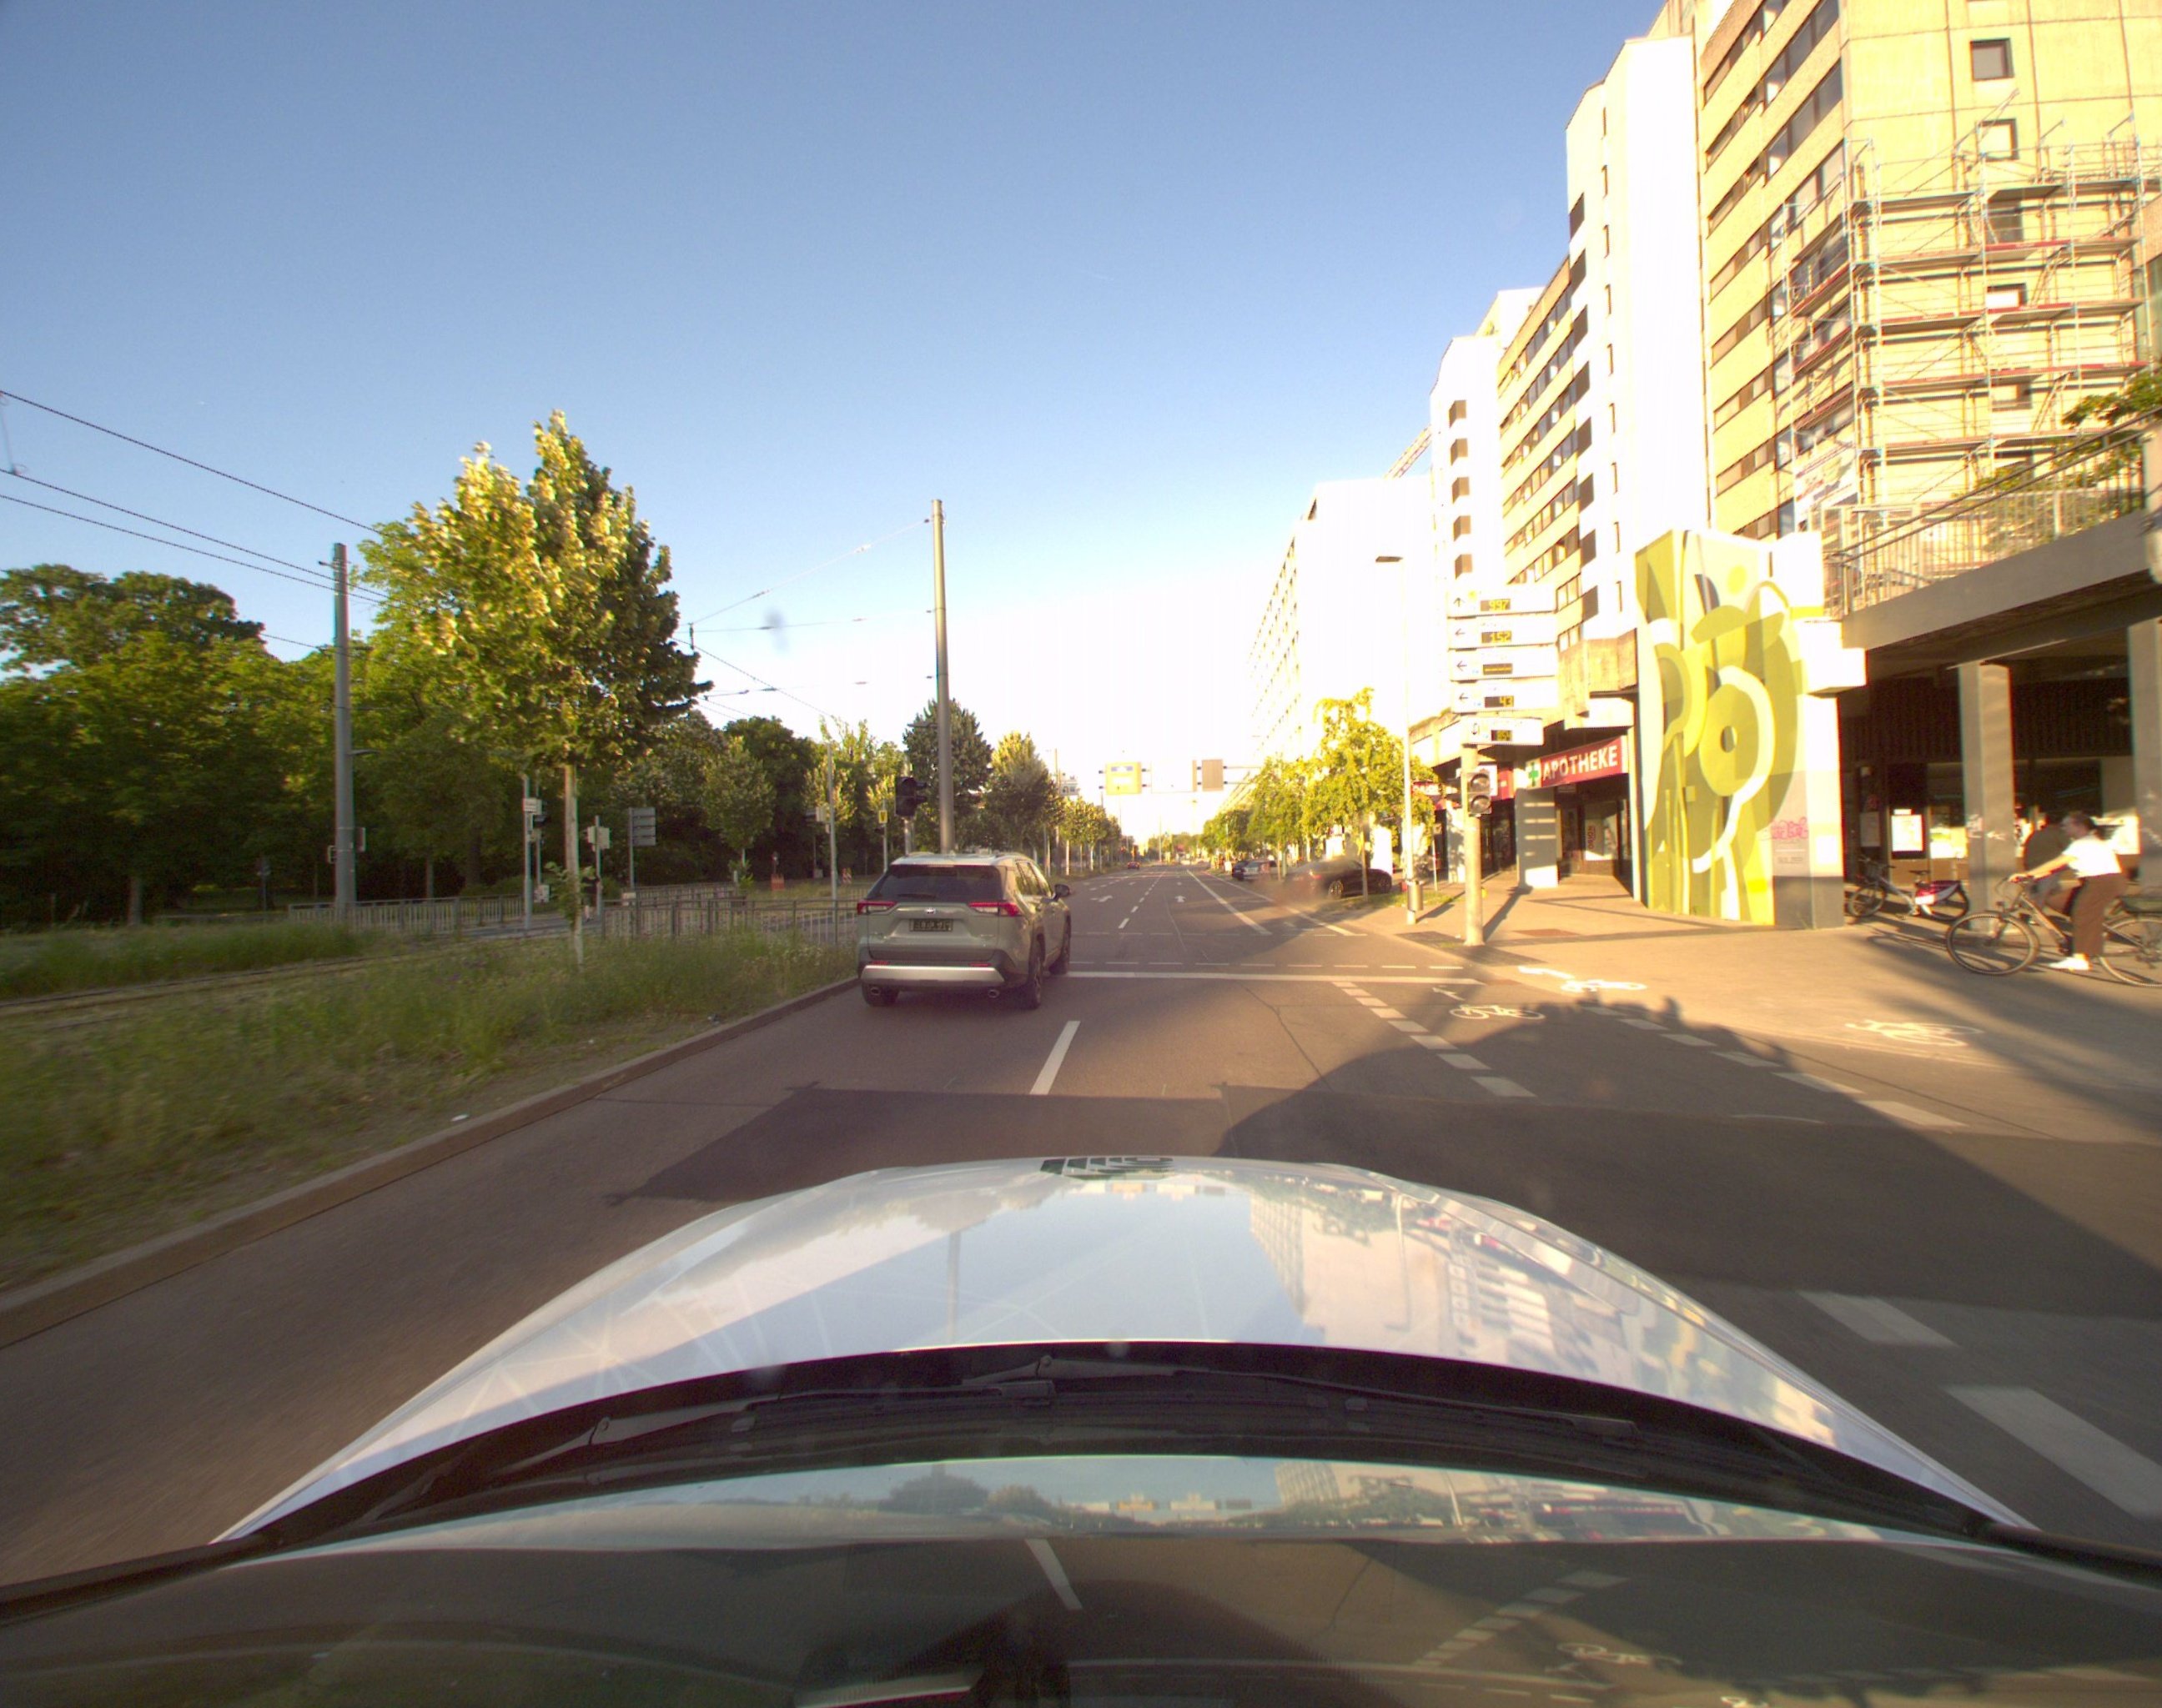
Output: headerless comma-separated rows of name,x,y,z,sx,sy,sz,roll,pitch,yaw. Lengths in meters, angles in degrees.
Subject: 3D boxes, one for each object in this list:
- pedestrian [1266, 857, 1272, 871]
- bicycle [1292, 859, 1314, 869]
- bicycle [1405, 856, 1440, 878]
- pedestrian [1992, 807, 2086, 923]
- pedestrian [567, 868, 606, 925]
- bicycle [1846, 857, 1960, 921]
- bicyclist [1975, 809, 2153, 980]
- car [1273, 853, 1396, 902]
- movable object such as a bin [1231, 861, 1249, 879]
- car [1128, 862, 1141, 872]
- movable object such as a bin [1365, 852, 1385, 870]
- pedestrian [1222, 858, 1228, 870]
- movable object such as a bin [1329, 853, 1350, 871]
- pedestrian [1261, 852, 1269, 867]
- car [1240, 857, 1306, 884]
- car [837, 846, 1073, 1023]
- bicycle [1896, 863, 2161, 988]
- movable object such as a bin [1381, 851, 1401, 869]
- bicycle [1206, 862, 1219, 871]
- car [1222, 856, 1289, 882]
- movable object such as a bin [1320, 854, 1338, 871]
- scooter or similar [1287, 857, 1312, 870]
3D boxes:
pedestrian,21.908,1.163,94.956,0.574,1.619,0.643,-4,-1,3
bicycle,22.377,1.030,82.060,2.009,0.957,0.620,-3,-1,-1
bicycle,17.540,0.663,41.868,1.565,1.048,0.434,-4,-1,4
pedestrian,15.283,0.161,12.999,0.724,1.750,0.694,-4,1,-18
pedestrian,-14.851,1.262,24.465,0.663,1.607,0.682,1,4,26
bicycle,14.448,0.590,14.349,0.458,1.047,1.326,-2,1,-23
bicyclist,10.508,0.408,8.733,0.820,1.692,0.954,-2,-1,-22
car,9.353,0.836,29.921,4.626,1.453,1.794,-3,0,-35
movable object such as a bin,12.348,1.233,63.284,1.081,1.301,1.361,-4,-1,0
car,7.875,1.904,120.004,1.665,1.352,4.007,0,0,6
movable object such as a bin,22.879,0.533,63.326,1.176,1.313,1.126,-2,-1,4
pedestrian,19.764,1.367,111.737,0.650,1.702,0.690,-4,-1,6
movable object such as a bin,20.105,0.601,63.363,1.176,1.323,1.268,-4,-1,4
pedestrian,22.960,0.632,101.726,0.750,1.824,0.944,-4,-1,15
car,12.237,1.044,51.868,4.005,1.417,1.733,-3,-1,-32
car,-1.233,0.774,9.872,1.825,1.672,4.288,-1,0,5
bicycle,10.479,0.717,8.837,0.820,1.173,2.132,-2,-1,-22
movable object such as a bin,24.074,0.444,63.230,1.176,1.313,1.089,-2,-1,4
bicycle,19.241,1.782,119.219,1.787,1.193,0.568,-4,-1,1
car,12.514,1.070,58.424,4.688,1.508,1.919,-3,-1,-34
movable object such as a bin,20.621,0.683,67.773,1.099,1.330,1.285,-4,-1,5
scooter or similar,22.444,0.943,83.684,2.361,1.183,0.621,-3,-1,5
